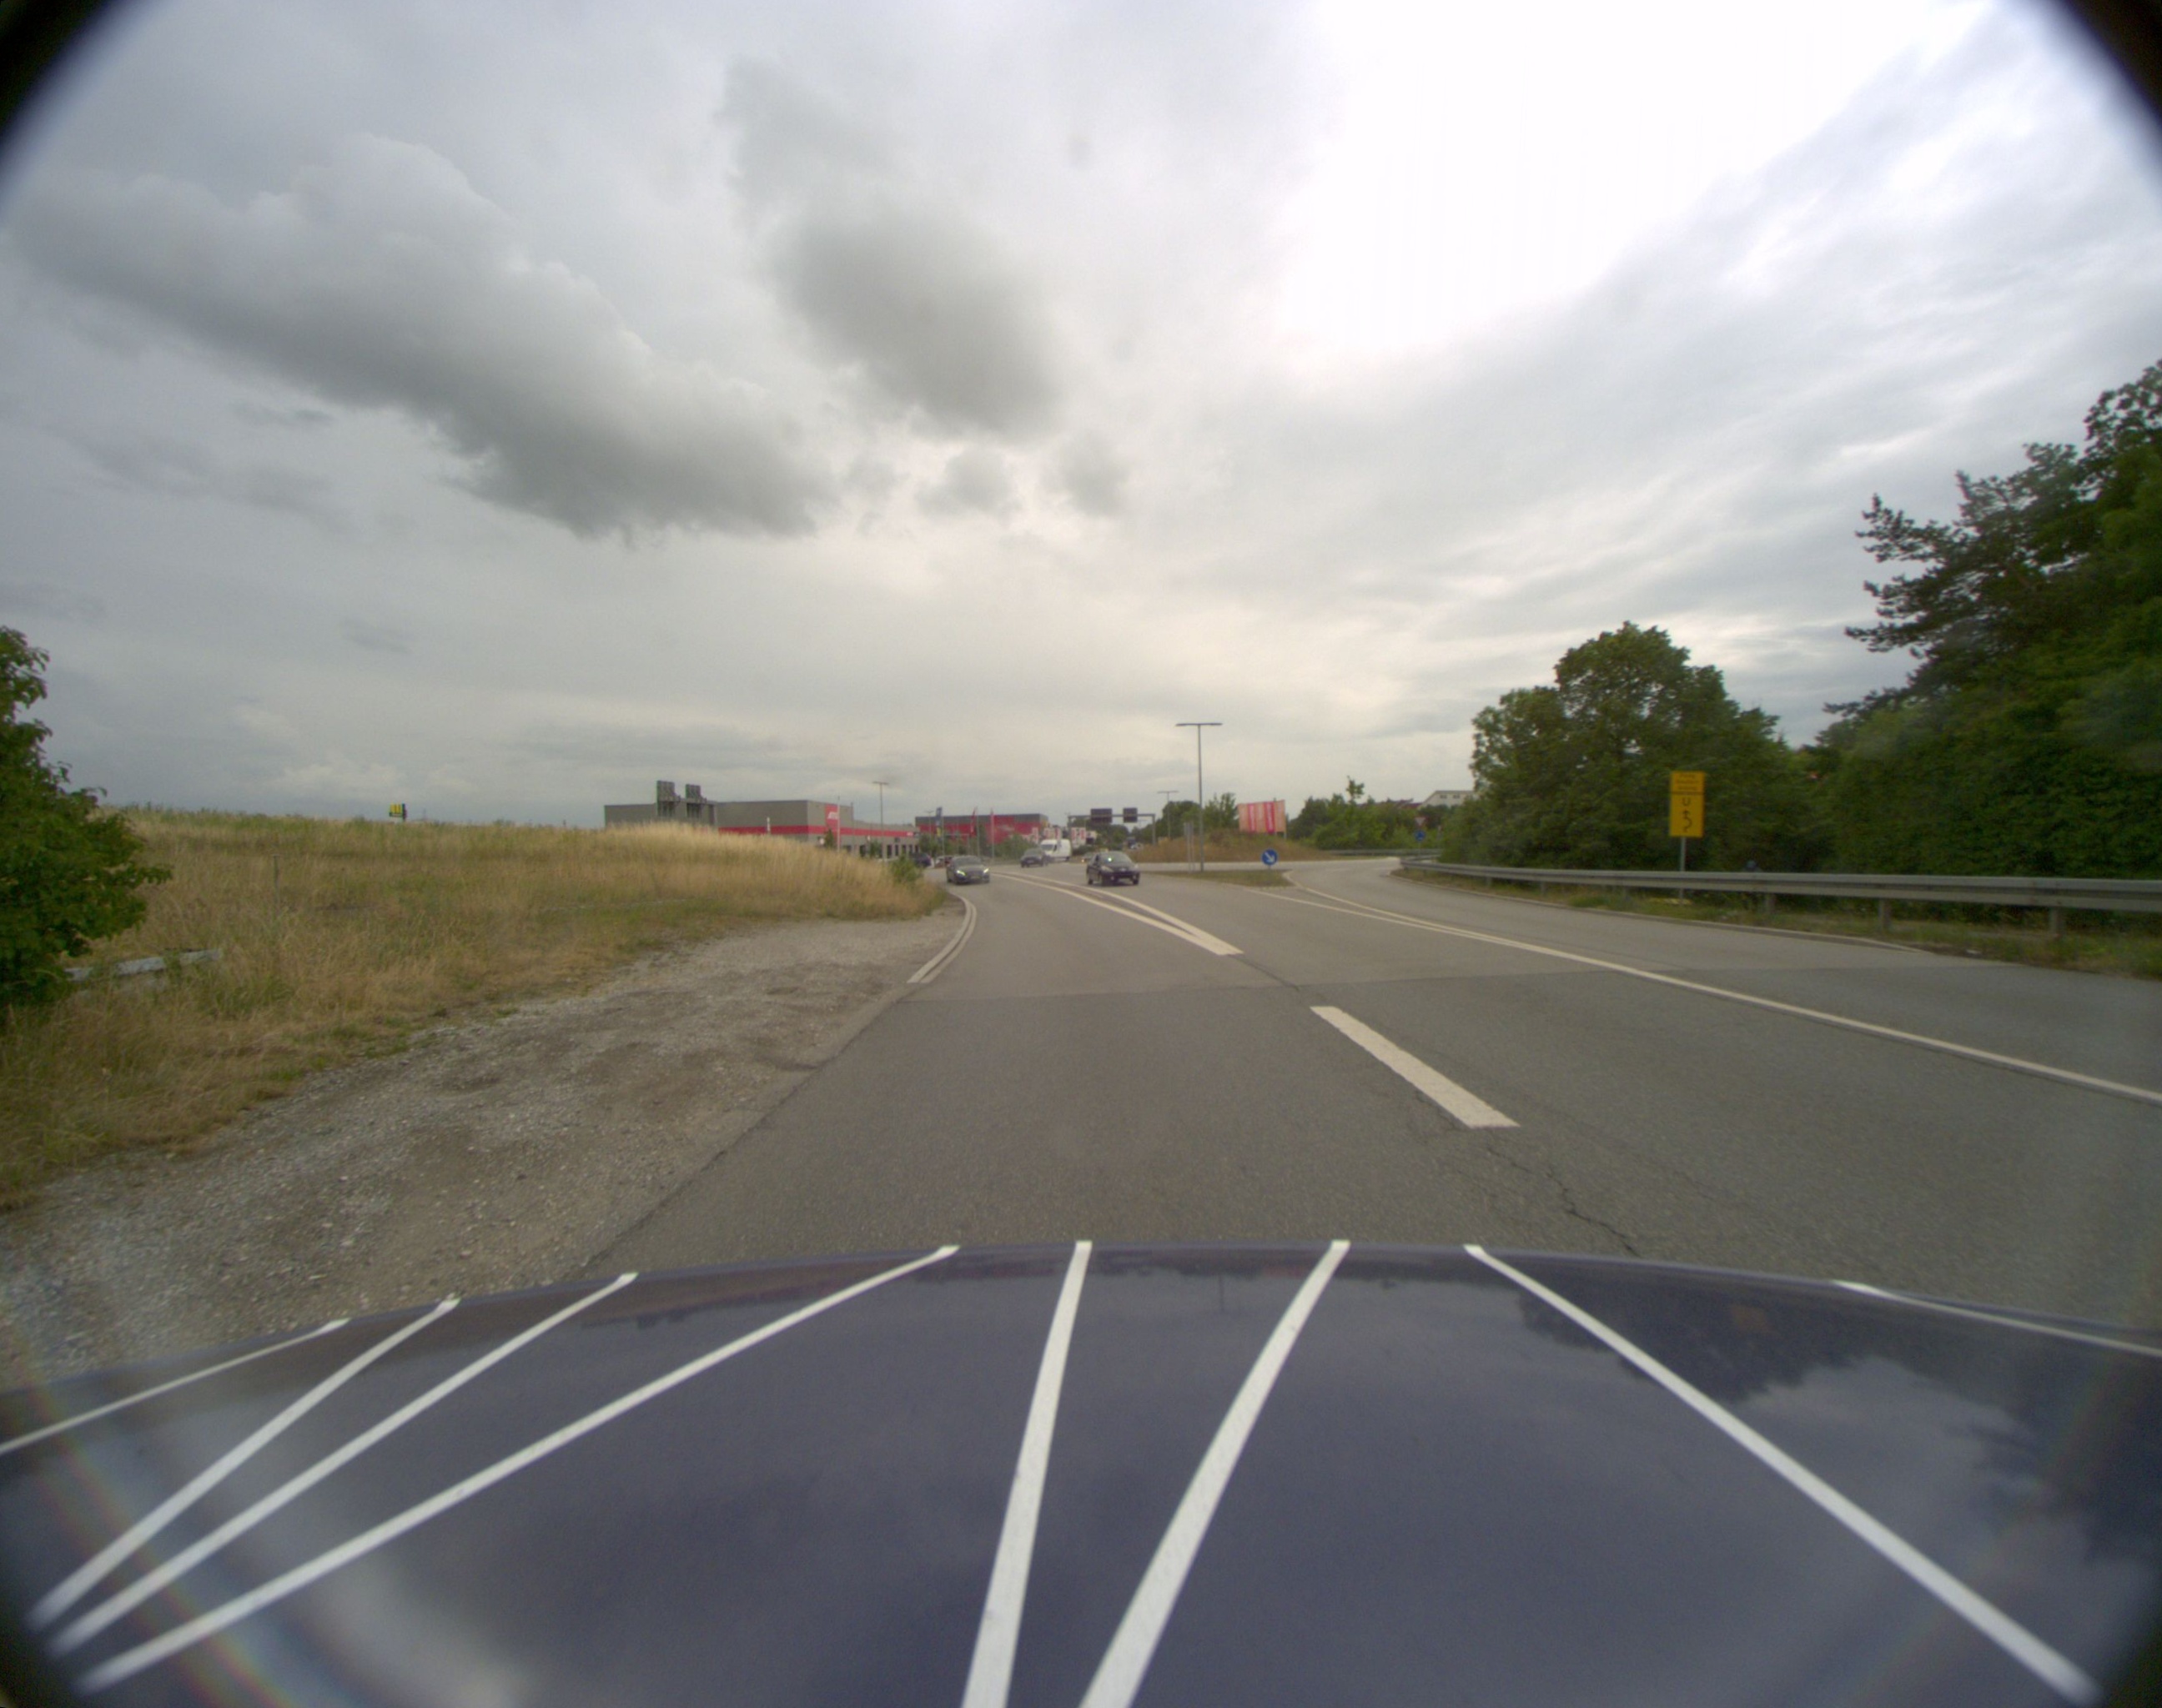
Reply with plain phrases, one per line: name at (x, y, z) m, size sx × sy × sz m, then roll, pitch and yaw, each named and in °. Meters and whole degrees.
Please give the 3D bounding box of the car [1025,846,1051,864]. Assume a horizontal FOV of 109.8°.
car at (-3.322, 0.070, 59.350) m, size 1.579 × 1.261 × 3.314 m, roll -3°, pitch 1°, yaw 4°

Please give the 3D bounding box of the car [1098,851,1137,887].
car at (1.666, 0.614, 33.940) m, size 1.579 × 1.346 × 3.824 m, roll -3°, pitch 1°, yaw 4°

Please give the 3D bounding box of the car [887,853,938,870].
car at (-16.211, 0.687, 73.192) m, size 4.560 × 1.404 × 1.858 m, roll -3°, pitch 1°, yaw -19°

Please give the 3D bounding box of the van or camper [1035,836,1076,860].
van or camper at (-2.709, -0.690, 82.464) m, size 2.048 × 2.351 × 5.549 m, roll -2°, pitch 1°, yaw 26°

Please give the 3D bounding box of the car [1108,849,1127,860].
car at (7.344, 0.103, 153.944) m, size 2.107 × 1.781 × 5.040 m, roll -1°, pitch 3°, yaw -19°

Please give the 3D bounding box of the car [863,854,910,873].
car at (-23.517, 1.146, 92.095) m, size 5.076 × 2.035 × 1.999 m, roll -2°, pitch 1°, yaw -2°

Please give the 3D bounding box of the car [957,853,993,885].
car at (-5.796, 0.781, 41.549) m, size 1.765 × 1.412 × 4.087 m, roll -4°, pitch 2°, yaw -8°
